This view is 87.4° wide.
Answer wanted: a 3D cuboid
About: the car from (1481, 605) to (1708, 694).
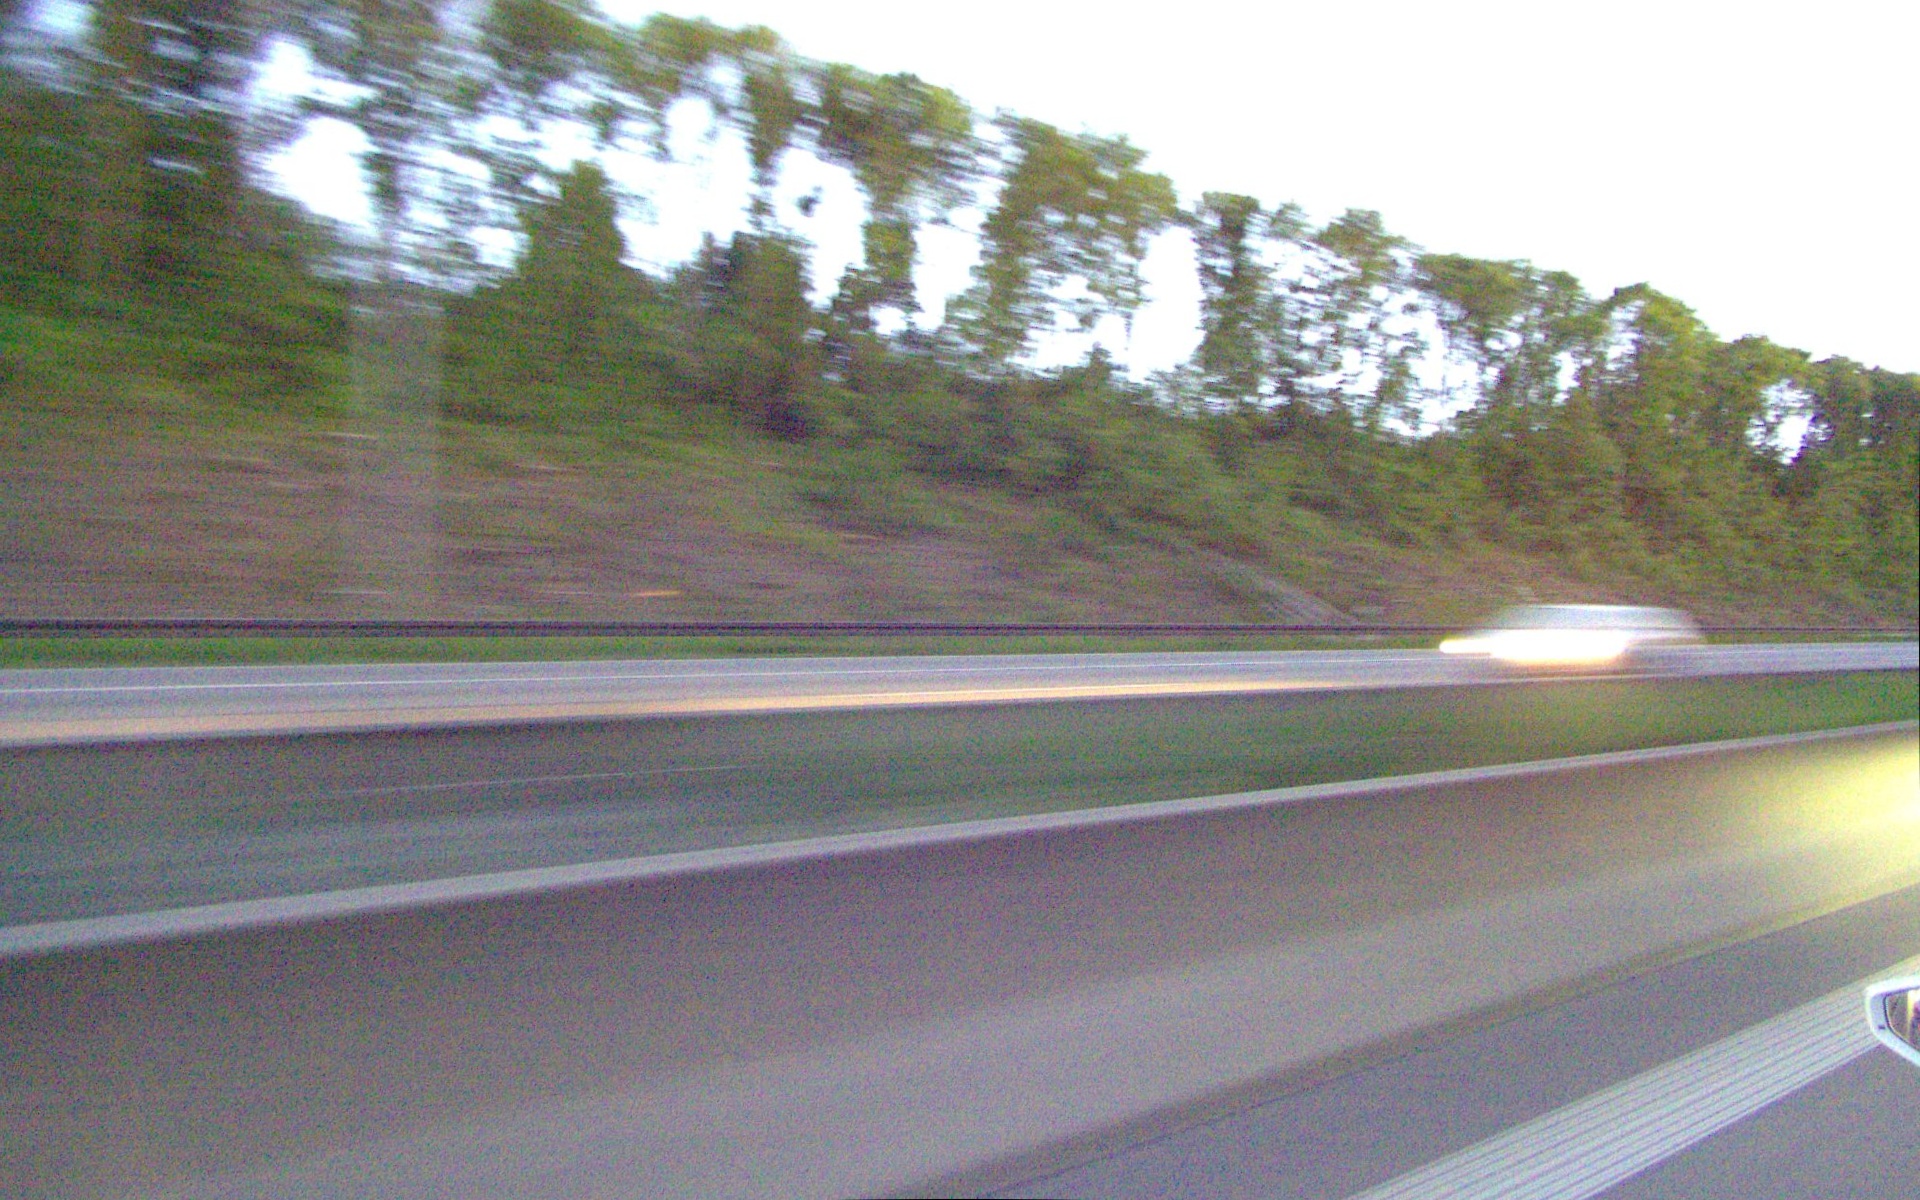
[{"bbox_3d":[12.104,0.896,19.112,4.317,1.498,1.812,1,0,-29],"label":"car"}]
